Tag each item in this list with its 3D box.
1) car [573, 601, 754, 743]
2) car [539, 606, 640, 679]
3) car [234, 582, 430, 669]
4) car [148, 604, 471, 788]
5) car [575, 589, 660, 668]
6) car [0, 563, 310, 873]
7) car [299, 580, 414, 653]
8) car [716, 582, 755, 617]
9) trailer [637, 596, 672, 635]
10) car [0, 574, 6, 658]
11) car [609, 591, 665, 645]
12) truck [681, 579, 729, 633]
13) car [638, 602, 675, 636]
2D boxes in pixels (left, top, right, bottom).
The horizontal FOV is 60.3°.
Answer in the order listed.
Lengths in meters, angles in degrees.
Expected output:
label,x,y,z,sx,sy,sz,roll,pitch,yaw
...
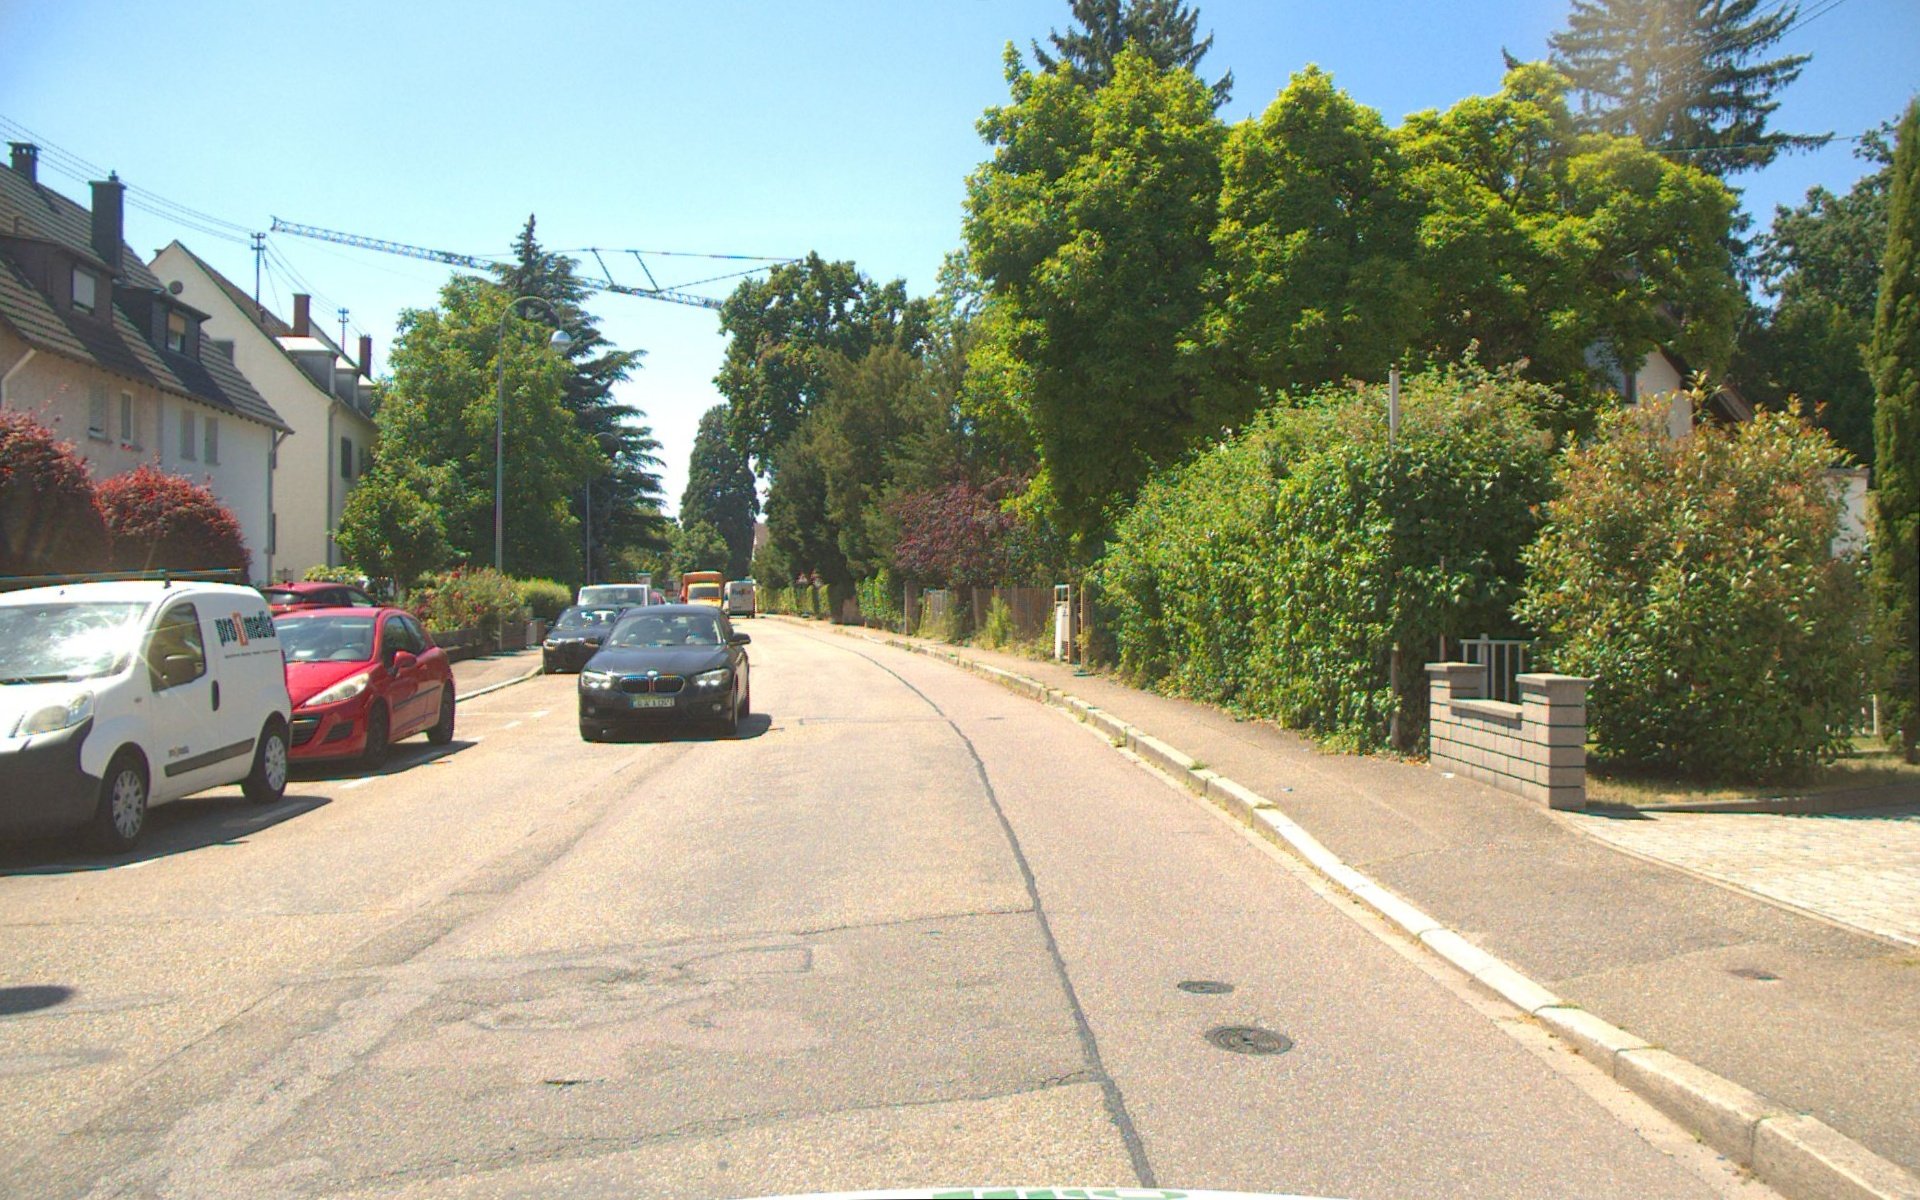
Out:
label,x,y,z,sx,sy,sz,roll,pitch,yaw
car,-3.373,0.780,19.437,1.698,1.442,3.996,-2,0,-5
car,-8.061,0.883,36.312,1.666,1.408,4.229,-2,0,-7
car,-13.210,0.479,35.070,1.608,1.537,4.115,3,3,19
car,-6.234,0.834,16.371,1.726,1.503,4.055,-2,0,-3
car,-9.010,0.738,43.841,1.851,1.914,4.971,-1,-1,-8
car,-6.066,0.704,11.415,1.688,1.766,3.885,-2,0,-2
car,-16.823,0.465,46.331,1.679,1.903,4.000,1,-1,0
car,-16.082,-0.019,118.246,2.108,2.356,4.834,-2,0,-15
trailer,-17.699,0.891,95.699,1.815,2.075,4.151,-2,0,-12
car,-12.872,0.388,19.030,1.653,1.541,3.996,4,0,-5
car,-11.149,0.601,57.338,1.726,1.757,4.448,-2,0,-9
truck,-14.181,0.342,91.756,2.331,2.879,5.642,-1,0,-11
car,-16.800,1.038,91.369,1.818,1.700,4.698,-2,0,-12
